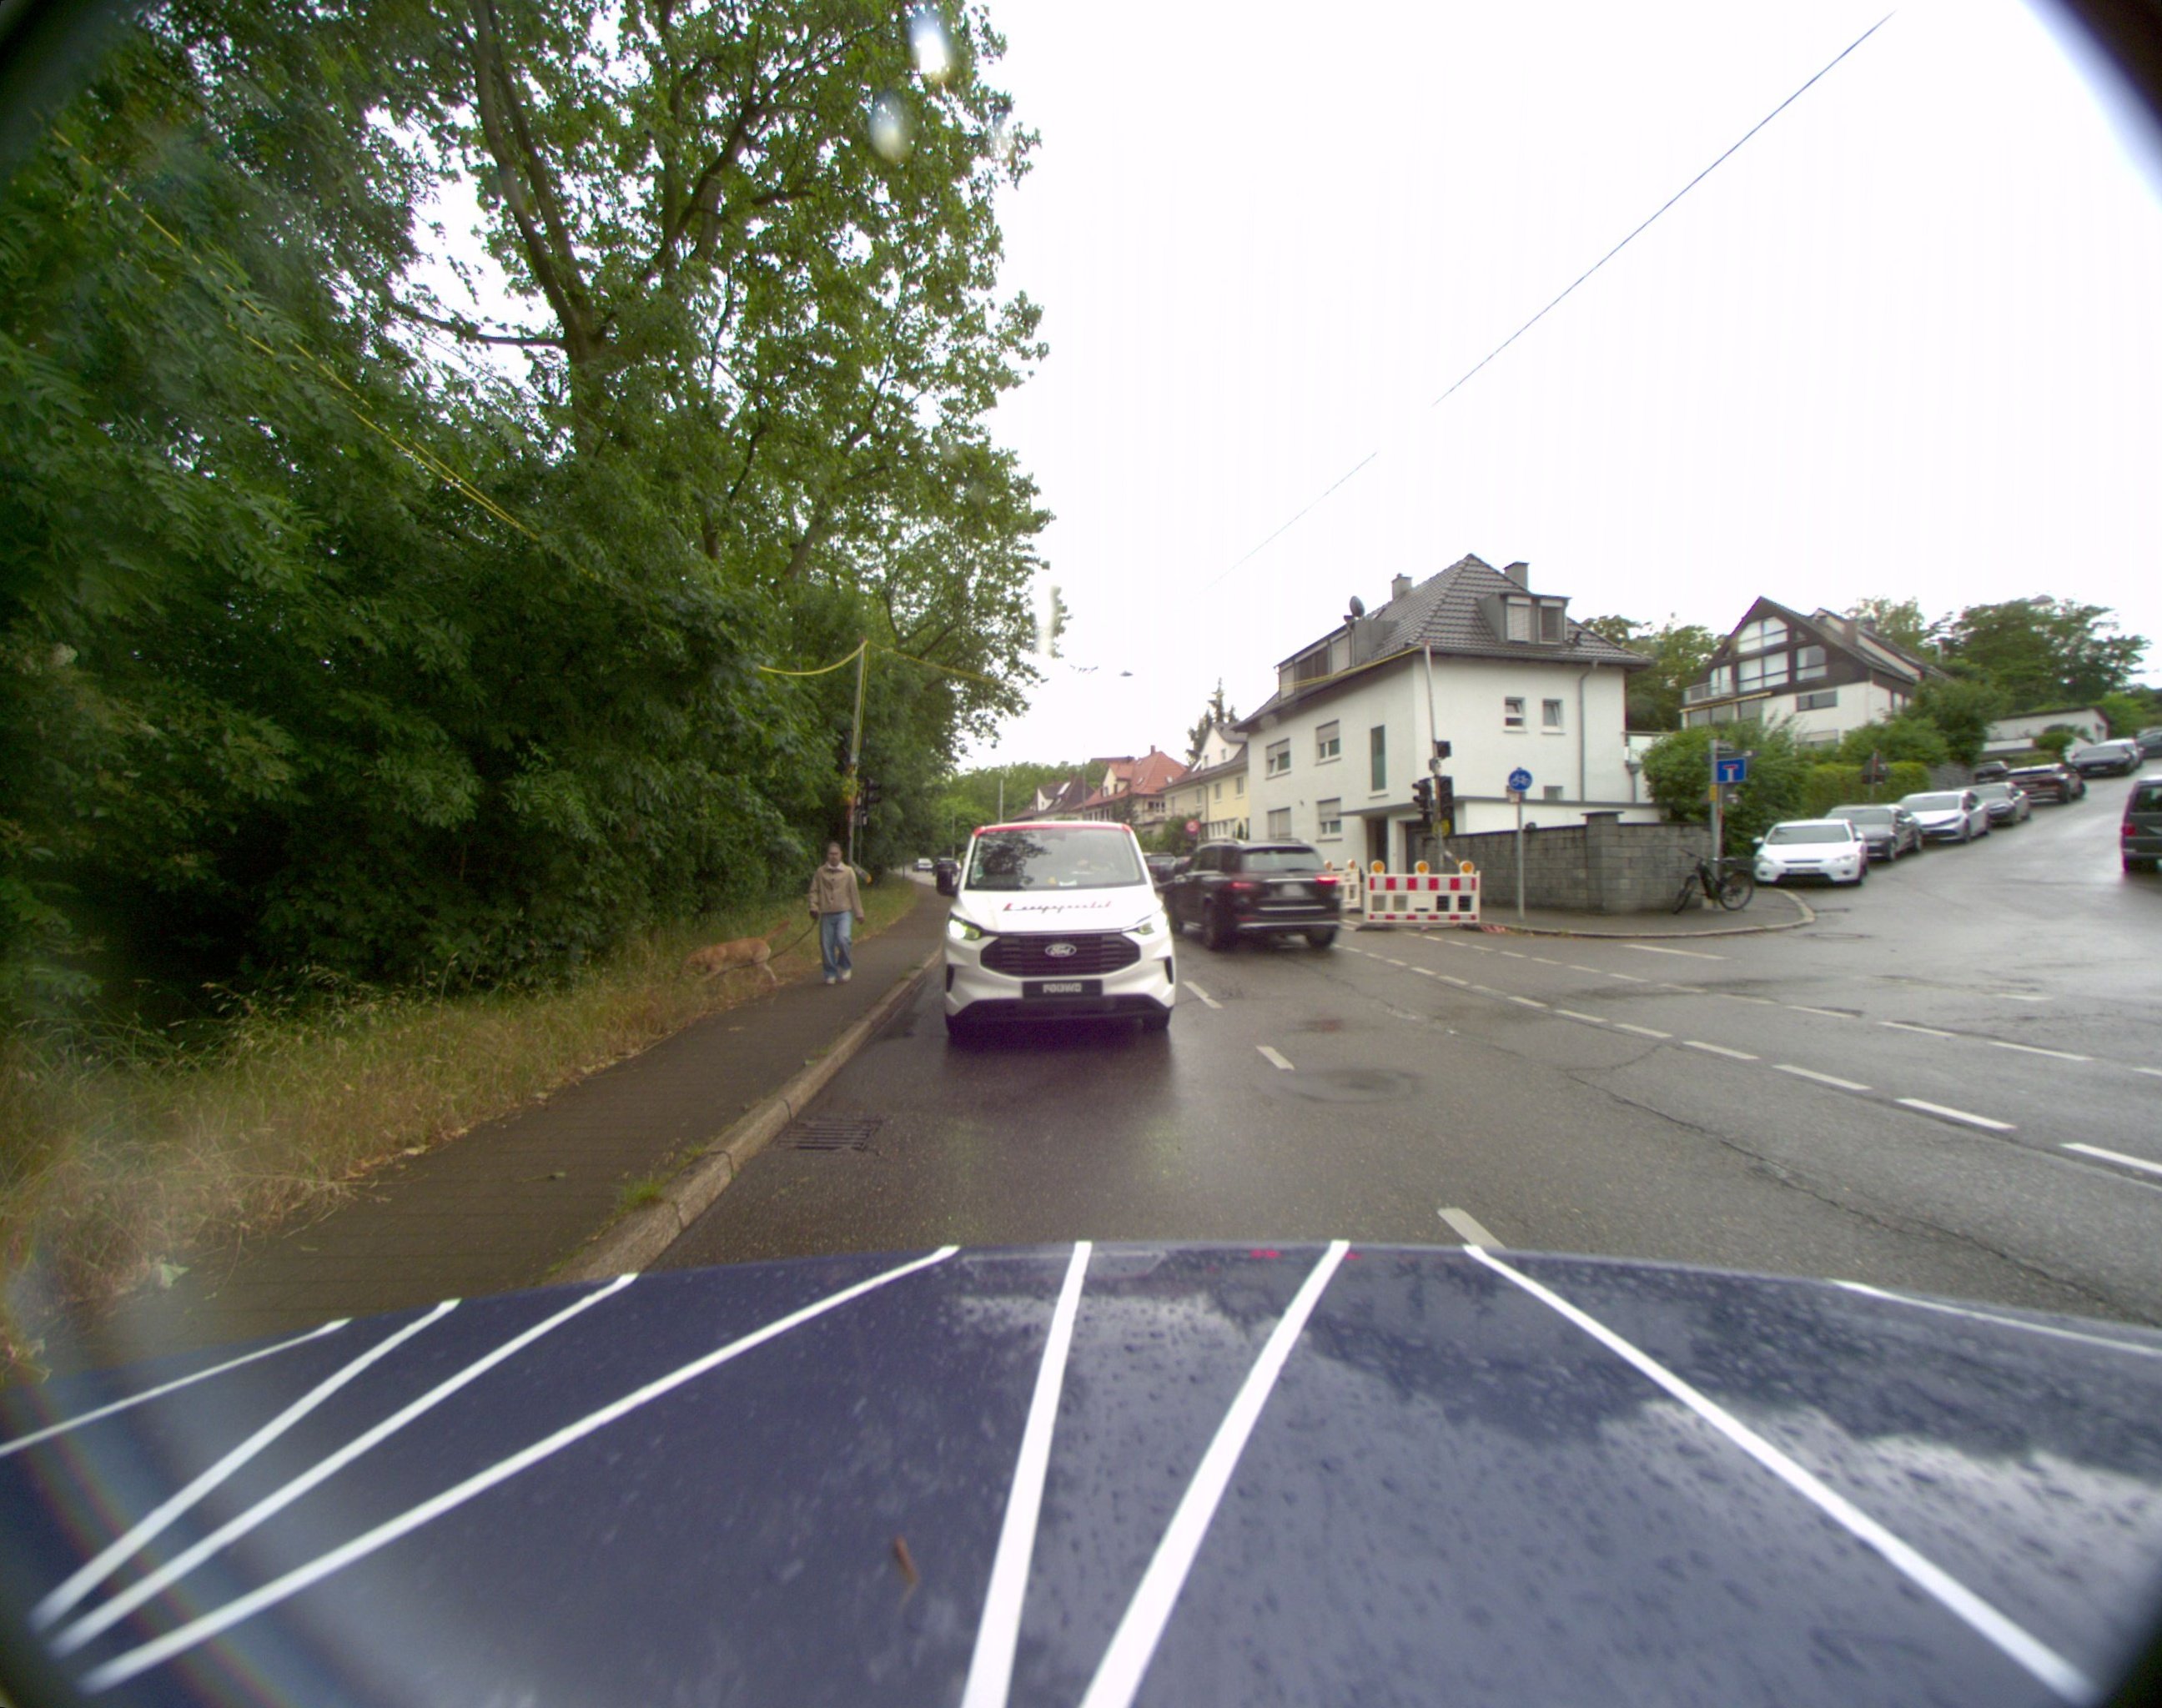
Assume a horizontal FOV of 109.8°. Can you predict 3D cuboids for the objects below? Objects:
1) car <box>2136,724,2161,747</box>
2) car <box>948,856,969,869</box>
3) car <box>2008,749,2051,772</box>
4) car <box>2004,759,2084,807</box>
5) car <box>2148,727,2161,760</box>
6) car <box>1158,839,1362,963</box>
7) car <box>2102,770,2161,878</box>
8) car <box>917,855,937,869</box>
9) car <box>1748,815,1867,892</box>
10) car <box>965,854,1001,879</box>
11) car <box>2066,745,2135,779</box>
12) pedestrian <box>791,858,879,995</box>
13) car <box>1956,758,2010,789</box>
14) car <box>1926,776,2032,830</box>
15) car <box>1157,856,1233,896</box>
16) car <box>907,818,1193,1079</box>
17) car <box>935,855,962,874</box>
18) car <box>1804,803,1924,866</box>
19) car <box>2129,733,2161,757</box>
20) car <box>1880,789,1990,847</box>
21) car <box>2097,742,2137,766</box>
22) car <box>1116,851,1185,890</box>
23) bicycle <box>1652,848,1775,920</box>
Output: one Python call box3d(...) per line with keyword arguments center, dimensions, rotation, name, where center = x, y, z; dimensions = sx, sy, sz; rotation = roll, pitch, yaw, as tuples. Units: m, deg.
box3d(center=(81.126, -8.899, 55.964), dimensions=(1.754, 1.508, 3.961), rotation=(-3, 1, -35), name="car")
box3d(center=(-15.223, 1.072, 94.184), dimensions=(2.071, 1.477, 4.556), rotation=(-2, 0, -16), name="car")
box3d(center=(57.247, -5.660, 45.871), dimensions=(3.656, 1.205, 1.577), rotation=(-7, 3, -38), name="car")
box3d(center=(40.728, -2.998, 32.119), dimensions=(4.004, 1.617, 1.638), rotation=(-8, 4, -32), name="car")
box3d(center=(72.472, -7.475, 48.987), dimensions=(2.003, 2.000, 3.993), rotation=(-2, -4, -32), name="car")
box3d(center=(2.848, 0.695, 13.302), dimensions=(1.985, 1.737, 4.550), rotation=(-1, 0, -7), name="car")
box3d(center=(23.892, -0.759, 16.268), dimensions=(4.497, 2.003, 1.996), rotation=(-7, 3, -31), name="car")
box3d(center=(-17.943, 0.916, 88.425), dimensions=(1.860, 1.518, 4.813), rotation=(-3, 0, -16), name="car")
box3d(center=(17.786, -0.054, 18.544), dimensions=(4.126, 1.455, 1.849), rotation=(-7, 4, -43), name="car")
box3d(center=(-7.109, 0.862, 54.593), dimensions=(2.001, 1.664, 4.683), rotation=(-2, 0, -13), name="car")
box3d(center=(54.823, -4.900, 40.847), dimensions=(4.034, 1.511, 1.786), rotation=(-2, 0, -31), name="car")
box3d(center=(-2.802, 0.797, 8.718), dimensions=(0.735, 1.490, 0.785), rotation=(-1, 1, -1), name="pedestrian")
box3d(center=(52.876, -4.669, 44.523), dimensions=(4.020, 1.545, 1.812), rotation=(-3, 1, -37), name="car")
box3d(center=(32.336, -1.843, 27.340), dimensions=(4.111, 1.430, 1.921), rotation=(-9, 4, -33), name="car")
box3d(center=(4.393, 0.816, 29.913), dimensions=(1.787, 1.423, 3.844), rotation=(-2, 0, -10), name="car")
box3d(center=(-0.200, 0.706, 8.272), dimensions=(2.102, 1.908, 5.090), rotation=(-2, 0, 1), name="car")
box3d(center=(-12.225, 0.934, 69.909), dimensions=(1.874, 1.612, 4.158), rotation=(-2, 0, -18), name="car")
box3d(center=(22.473, -0.566, 21.766), dimensions=(3.910, 1.380, 1.719), rotation=(-7, 3, -34), name="car")
box3d(center=(68.333, -6.963, 47.703), dimensions=(1.286, 1.310, 2.945), rotation=(-3, 1, -36), name="car")
box3d(center=(27.279, -1.162, 24.238), dimensions=(3.951, 1.462, 1.755), rotation=(-7, 3, -33), name="car")
box3d(center=(59.845, -5.765, 43.903), dimensions=(2.988, 1.191, 1.305), rotation=(-6, 3, -35), name="car")
box3d(center=(3.140, 0.730, 35.041), dimensions=(1.798, 1.630, 4.150), rotation=(-1, 0, -15), name="car")
box3d(center=(11.597, 0.533, 13.943), dimensions=(2.006, 1.233, 0.510), rotation=(-2, 3, -8), name="bicycle")
